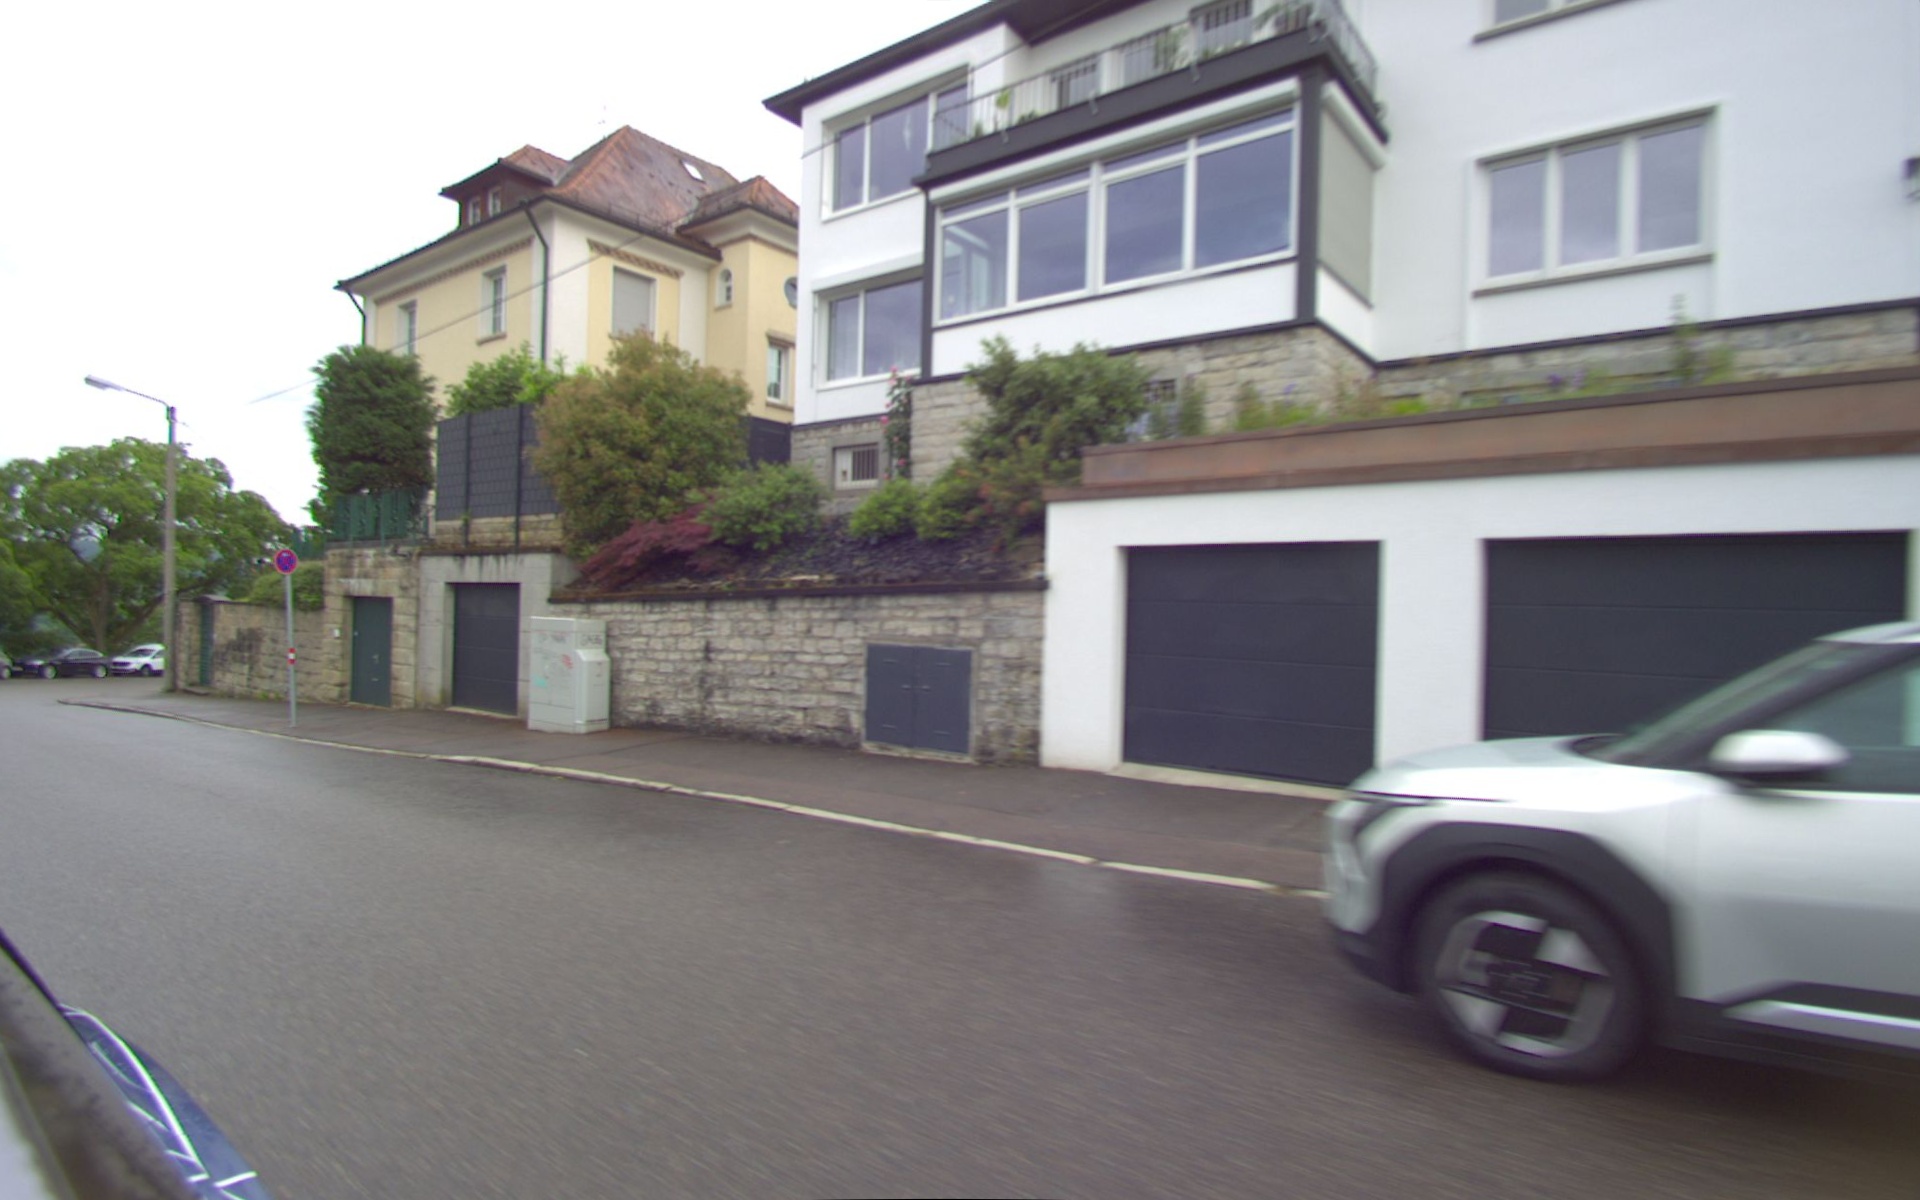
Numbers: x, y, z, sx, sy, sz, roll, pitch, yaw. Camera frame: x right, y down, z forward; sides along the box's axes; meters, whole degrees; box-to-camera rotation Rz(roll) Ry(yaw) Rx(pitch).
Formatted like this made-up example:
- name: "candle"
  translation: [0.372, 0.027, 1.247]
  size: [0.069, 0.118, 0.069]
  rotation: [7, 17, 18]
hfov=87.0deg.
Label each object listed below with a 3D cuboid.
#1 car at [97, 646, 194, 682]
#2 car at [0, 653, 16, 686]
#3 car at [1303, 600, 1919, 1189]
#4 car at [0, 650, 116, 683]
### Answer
- name: "car"
  translation: [-45.451, 3.606, 56.580]
  size: [1.728, 1.835, 4.422]
  rotation: [2, -5, 0]
- name: "car"
  translation: [-44.842, 3.057, 45.218]
  size: [1.712, 1.515, 4.142]
  rotation: [3, -5, -8]
- name: "car"
  translation: [3.519, 0.811, 3.193]
  size: [4.233, 1.579, 1.879]
  rotation: [-2, -3, 39]
- name: "car"
  translation: [-45.269, 3.357, 50.726]
  size: [1.839, 1.554, 4.895]
  rotation: [2, -4, -1]
